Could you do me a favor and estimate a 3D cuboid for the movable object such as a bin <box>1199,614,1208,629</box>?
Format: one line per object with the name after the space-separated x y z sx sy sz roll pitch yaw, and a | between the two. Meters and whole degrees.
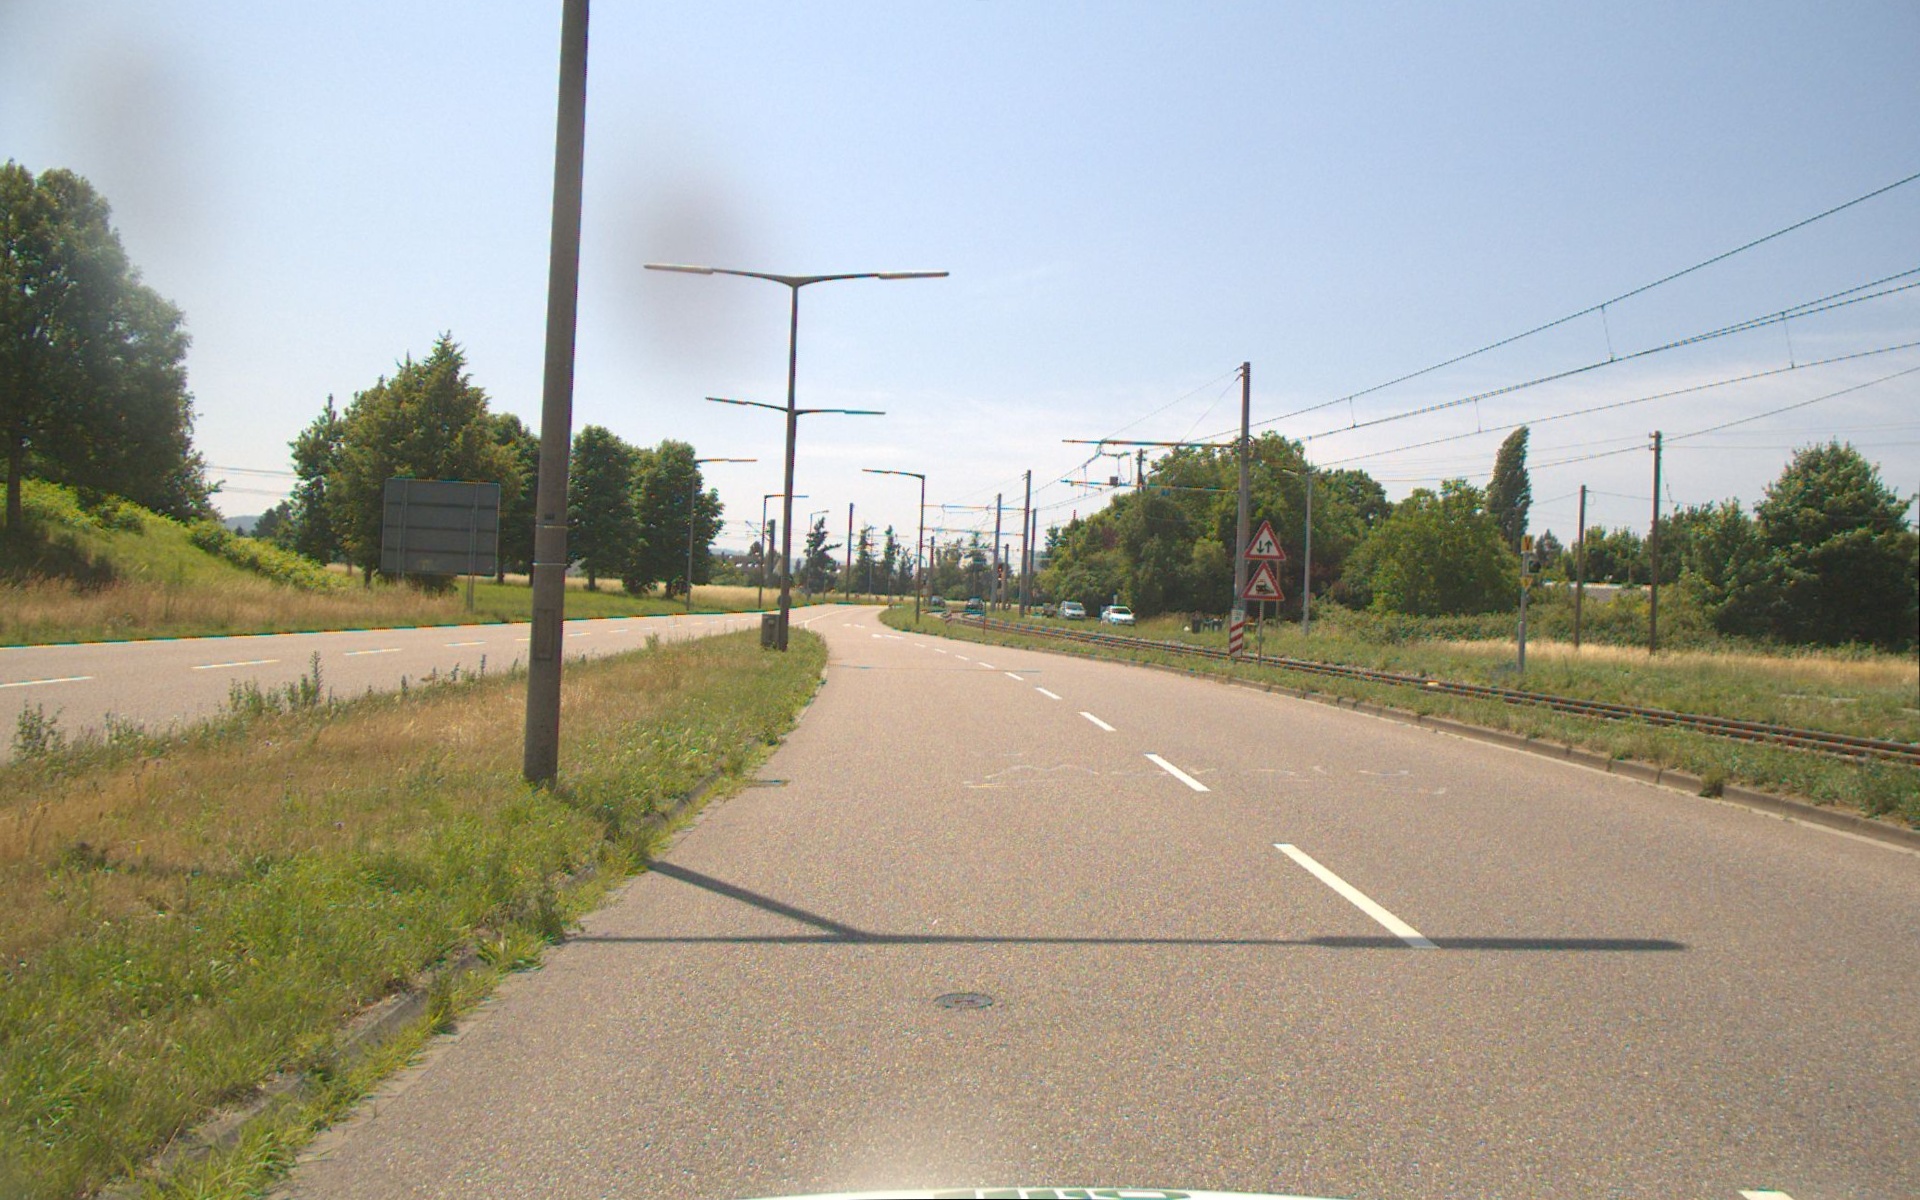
14.680 1.303 99.725 0.513 0.879 0.500 2 0 6 | movable object such as a bin

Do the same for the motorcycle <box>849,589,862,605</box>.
-11.576 -0.347 183.618 0.969 1.608 3.401 4 -1 2 | motorcycle

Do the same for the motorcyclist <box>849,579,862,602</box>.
-11.556 -1.030 183.599 1.206 2.391 1.107 4 -1 1 | motorcyclist

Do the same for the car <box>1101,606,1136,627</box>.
10.186 1.044 106.498 1.533 1.200 3.074 2 0 -8 | car

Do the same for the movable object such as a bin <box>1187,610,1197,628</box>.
14.002 1.149 99.807 0.513 1.068 0.500 2 0 6 | movable object such as a bin

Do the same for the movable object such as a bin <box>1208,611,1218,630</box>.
15.230 1.238 99.641 0.513 1.068 0.500 2 0 6 | movable object such as a bin

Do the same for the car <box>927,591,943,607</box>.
-3.260 -0.129 214.738 1.374 1.802 3.257 4 -1 12 | car

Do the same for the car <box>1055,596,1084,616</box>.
8.608 0.459 130.021 1.639 1.421 3.646 4 -1 -6 | car
